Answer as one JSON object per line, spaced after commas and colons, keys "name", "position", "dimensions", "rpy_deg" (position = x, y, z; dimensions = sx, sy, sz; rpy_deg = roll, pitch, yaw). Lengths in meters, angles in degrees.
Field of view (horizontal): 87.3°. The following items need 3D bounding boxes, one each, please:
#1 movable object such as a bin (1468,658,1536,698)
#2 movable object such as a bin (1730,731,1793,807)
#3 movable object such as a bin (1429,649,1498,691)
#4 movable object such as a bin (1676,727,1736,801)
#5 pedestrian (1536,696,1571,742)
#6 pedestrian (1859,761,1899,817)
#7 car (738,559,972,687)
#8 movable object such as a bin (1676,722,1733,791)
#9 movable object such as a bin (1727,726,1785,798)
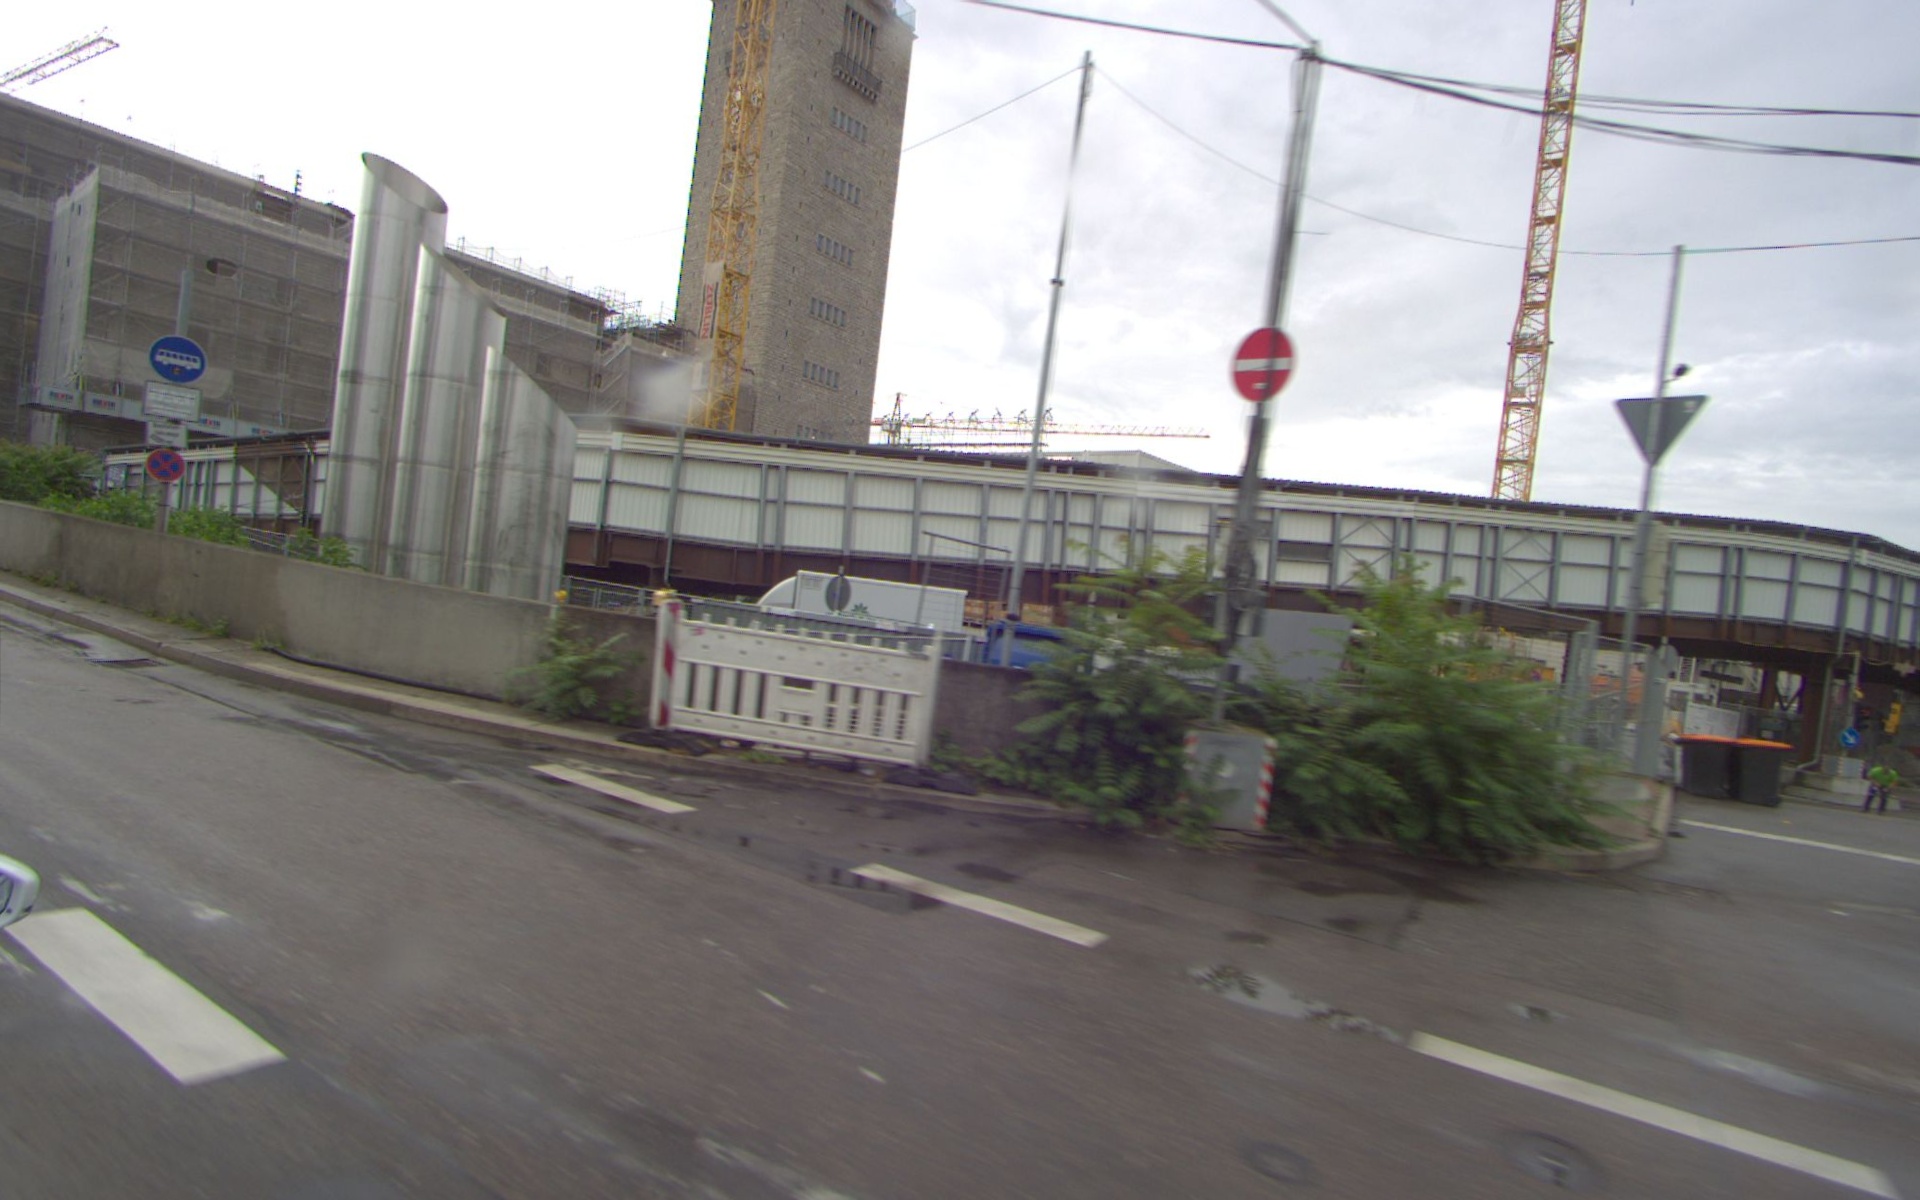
{"name": "movable object such as a bin", "position": [37.350, 5.333, 69.315], "dimensions": [3.749, 2.373, 2.932], "rpy_deg": [3, 0, 35]}
{"name": "movable object such as a bin", "position": [13.666, 2.857, 17.142], "dimensions": [0.737, 1.116, 0.988], "rpy_deg": [4, 1, 41]}
{"name": "movable object such as a bin", "position": [32.754, 4.517, 65.587], "dimensions": [3.225, 2.373, 3.999], "rpy_deg": [3, 0, 17]}
{"name": "movable object such as a bin", "position": [13.094, 2.858, 17.659], "dimensions": [0.720, 1.116, 0.988], "rpy_deg": [4, 1, 41]}
{"name": "pedestrian", "position": [23.479, 4.705, 39.785], "dimensions": [0.831, 1.706, 0.751], "rpy_deg": [3, 1, -1]}
{"name": "pedestrian", "position": [25.131, 5.158, 27.506], "dimensions": [0.547, 1.356, 0.617], "rpy_deg": [3, 1, 21]}
{"name": "car", "position": [-2.392, 0.519, 22.787], "dimensions": [4.796, 2.157, 2.350], "rpy_deg": [7, 0, -10]}
{"name": "movable object such as a bin", "position": [13.792, 2.875, 18.631], "dimensions": [0.720, 1.116, 0.988], "rpy_deg": [4, 1, 41]}
{"name": "movable object such as a bin", "position": [14.351, 2.904, 18.130], "dimensions": [0.720, 1.116, 0.988], "rpy_deg": [4, 1, 41]}
